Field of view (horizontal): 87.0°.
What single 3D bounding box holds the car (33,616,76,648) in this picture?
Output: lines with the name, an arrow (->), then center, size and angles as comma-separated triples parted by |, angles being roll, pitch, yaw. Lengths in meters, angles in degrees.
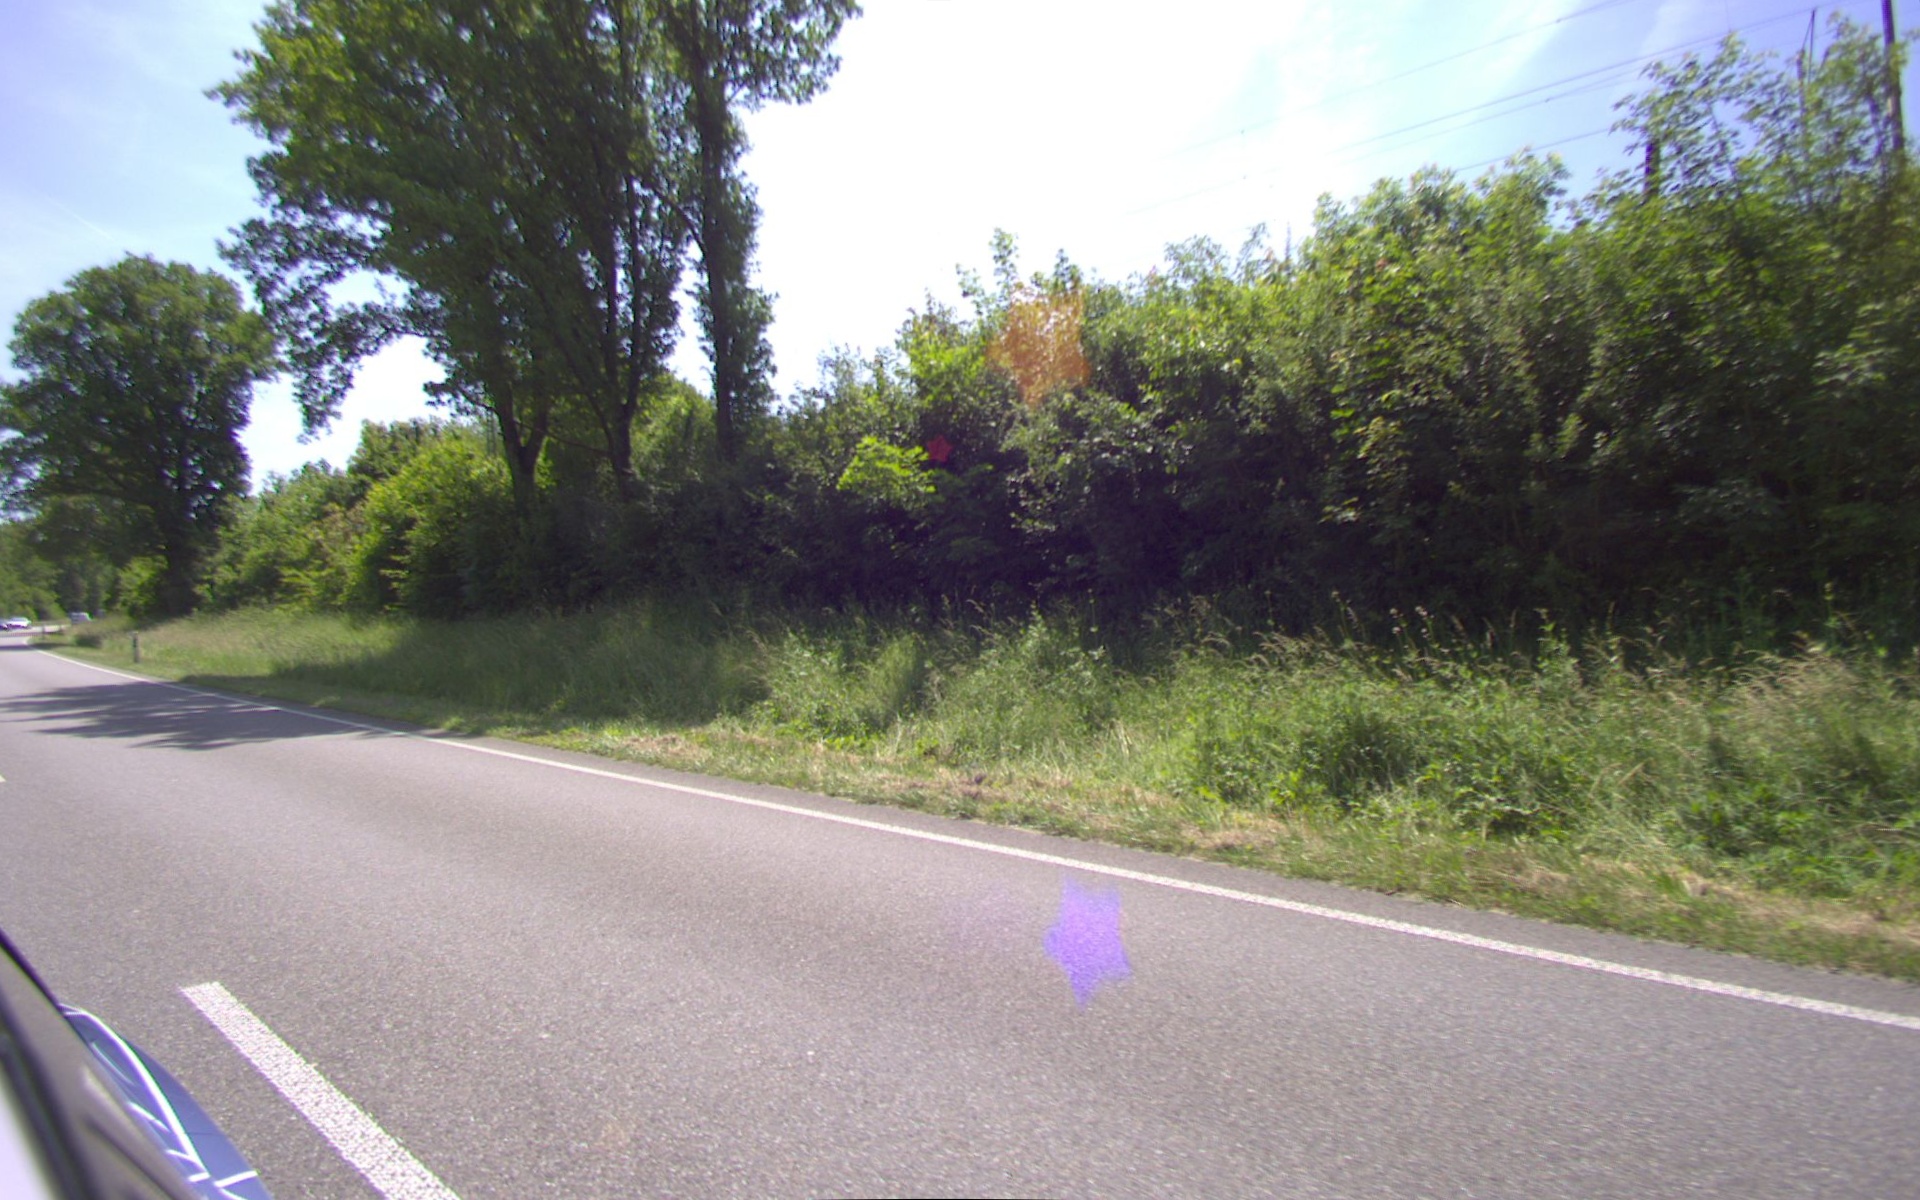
car -> -61.277, 2.139, 68.483 | 1.971, 2.029, 4.002 | -1, -1, -45

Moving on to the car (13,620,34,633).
car -> -121.268, 3.440, 131.066 | 1.784, 1.601, 4.007 | -1, -1, -40

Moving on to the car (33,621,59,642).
car -> -94.928, 3.275, 105.156 | 1.969, 2.029, 4.005 | -1, -1, -42

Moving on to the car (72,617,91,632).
car -> -127.135, 3.511, 146.462 | 1.969, 2.029, 4.006 | -1, -1, -41

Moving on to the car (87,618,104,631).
car -> -140.744, 3.998, 164.745 | 1.969, 2.029, 4.006 | -1, -1, -41

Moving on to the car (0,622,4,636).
car -> -111.312, 3.402, 116.399 | 1.785, 1.601, 4.006 | -1, -1, -41
